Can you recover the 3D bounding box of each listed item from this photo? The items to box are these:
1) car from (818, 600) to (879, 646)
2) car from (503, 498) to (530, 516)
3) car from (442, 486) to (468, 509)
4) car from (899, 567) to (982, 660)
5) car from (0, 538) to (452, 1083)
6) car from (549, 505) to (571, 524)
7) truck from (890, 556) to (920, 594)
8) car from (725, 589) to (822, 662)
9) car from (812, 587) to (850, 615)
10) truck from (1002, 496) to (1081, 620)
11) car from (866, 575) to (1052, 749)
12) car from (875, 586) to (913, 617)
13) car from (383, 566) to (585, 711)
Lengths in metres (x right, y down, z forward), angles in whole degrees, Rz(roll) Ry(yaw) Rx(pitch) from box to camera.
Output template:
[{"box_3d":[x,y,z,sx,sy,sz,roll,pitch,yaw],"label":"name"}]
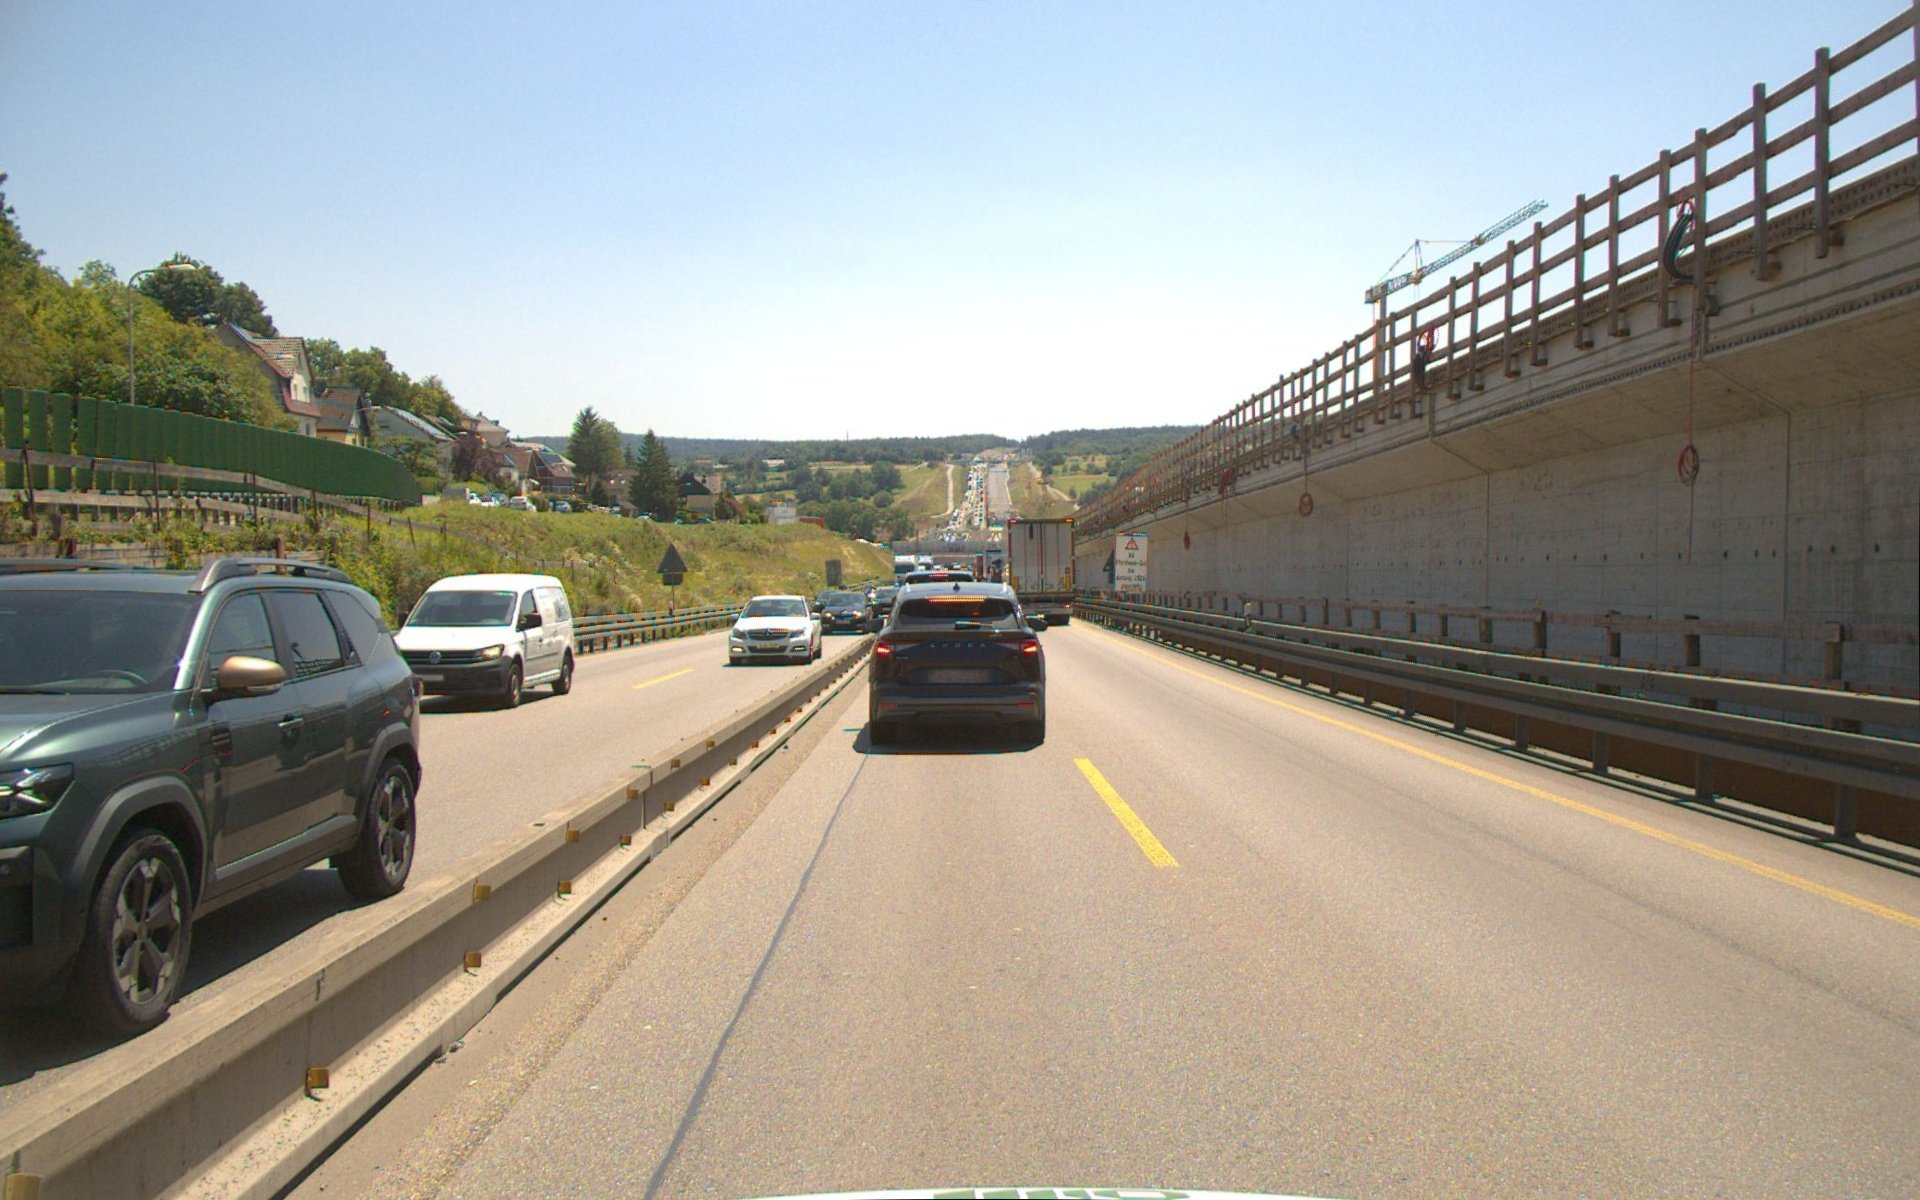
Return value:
[{"box_3d":[-3.859,0.802,57.830,1.573,1.471,4.671,-3,-1,2],"label":"car"},{"box_3d":[-40.439,-8.445,150.934,1.958,1.342,3.990,3,0,-11],"label":"car"},{"box_3d":[-36.495,-7.374,119.414,1.701,1.422,3.782,1,0,-18],"label":"car"},{"box_3d":[-0.477,0.275,36.580,1.714,1.928,3.753,1,0,-2],"label":"car"},{"box_3d":[-3.657,0.627,7.077,1.738,1.662,4.099,0,0,-1],"label":"car"},{"box_3d":[-41.257,-8.841,170.563,1.890,1.758,3.990,-1,0,-10],"label":"car"},{"box_3d":[-6.680,-2.987,199.834,3.120,4.312,6.475,-1,0,-7],"label":"truck"},{"box_3d":[-4.002,0.535,36.071,1.697,1.463,4.257,1,0,-1],"label":"car"},{"box_3d":[-7.087,0.057,91.318,1.777,1.473,5.005,1,0,-1],"label":"car"},{"box_3d":[3.222,-1.553,68.436,2.787,4.696,11.811,0,0,1],"label":"truck"},{"box_3d":[-0.043,0.580,17.611,1.746,1.625,3.754,-1,0,-1],"label":"car"},{"box_3d":[-3.433,0.088,86.295,1.805,1.557,4.293,-1,0,-1],"label":"car"},{"box_3d":[-6.755,0.510,23.991,1.564,1.866,4.752,-1,0,0],"label":"car"}]
